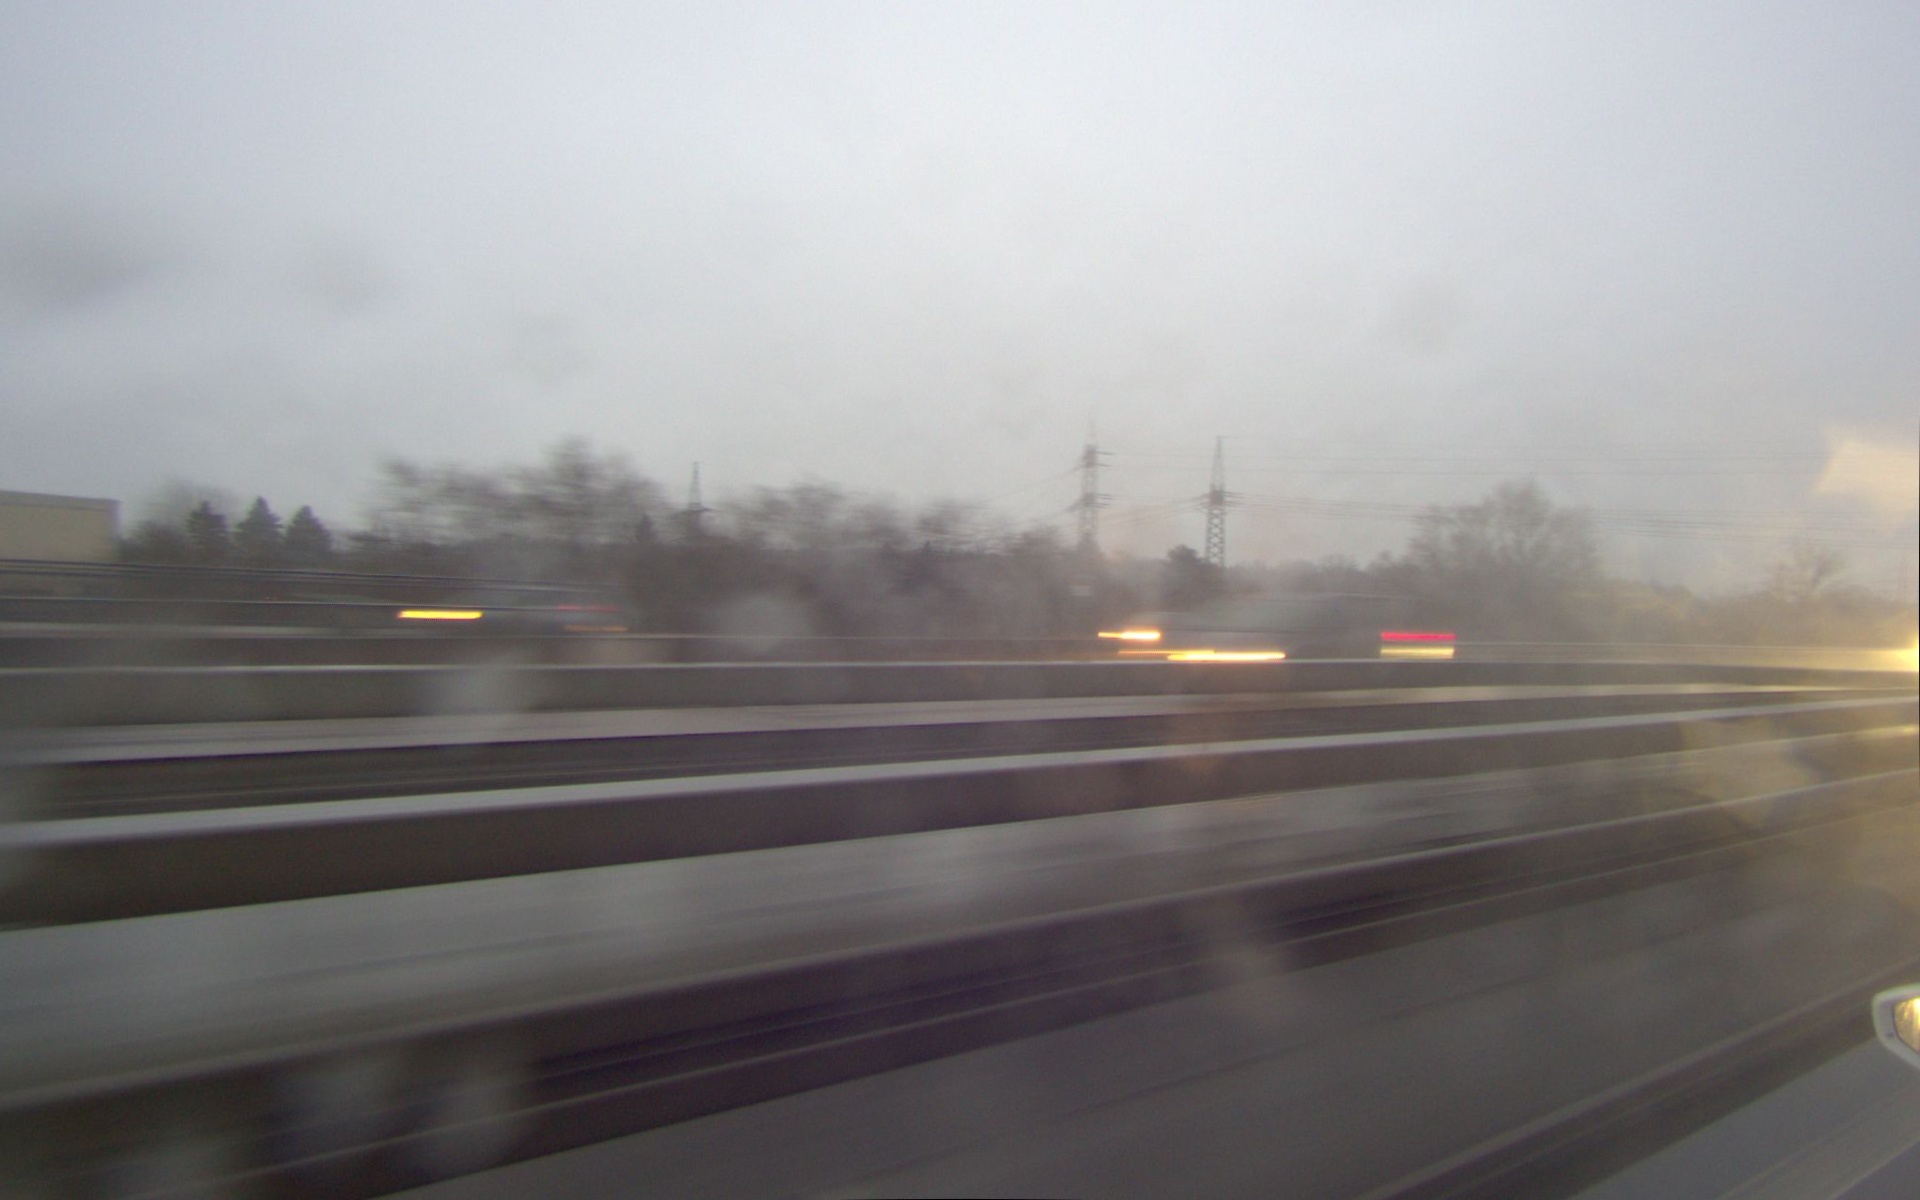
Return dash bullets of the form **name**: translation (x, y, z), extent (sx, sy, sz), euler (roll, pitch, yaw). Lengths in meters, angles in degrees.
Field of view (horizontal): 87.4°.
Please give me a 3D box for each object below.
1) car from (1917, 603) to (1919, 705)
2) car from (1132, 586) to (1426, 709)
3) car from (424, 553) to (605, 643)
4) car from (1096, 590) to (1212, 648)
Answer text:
- **car**: translation (23.208, 1.173, 21.971), extent (5.138, 2.164, 1.984), euler (0, 0, -31)
- **car**: translation (4.982, 0.658, 15.530), extent (4.491, 1.658, 1.826), euler (0, 0, -31)
- **car**: translation (-11.168, -0.022, 25.207), extent (3.954, 2.040, 1.984), euler (2, 0, -30)
- **car**: translation (7.288, 0.711, 37.618), extent (3.955, 2.040, 1.983), euler (1, 0, -31)
